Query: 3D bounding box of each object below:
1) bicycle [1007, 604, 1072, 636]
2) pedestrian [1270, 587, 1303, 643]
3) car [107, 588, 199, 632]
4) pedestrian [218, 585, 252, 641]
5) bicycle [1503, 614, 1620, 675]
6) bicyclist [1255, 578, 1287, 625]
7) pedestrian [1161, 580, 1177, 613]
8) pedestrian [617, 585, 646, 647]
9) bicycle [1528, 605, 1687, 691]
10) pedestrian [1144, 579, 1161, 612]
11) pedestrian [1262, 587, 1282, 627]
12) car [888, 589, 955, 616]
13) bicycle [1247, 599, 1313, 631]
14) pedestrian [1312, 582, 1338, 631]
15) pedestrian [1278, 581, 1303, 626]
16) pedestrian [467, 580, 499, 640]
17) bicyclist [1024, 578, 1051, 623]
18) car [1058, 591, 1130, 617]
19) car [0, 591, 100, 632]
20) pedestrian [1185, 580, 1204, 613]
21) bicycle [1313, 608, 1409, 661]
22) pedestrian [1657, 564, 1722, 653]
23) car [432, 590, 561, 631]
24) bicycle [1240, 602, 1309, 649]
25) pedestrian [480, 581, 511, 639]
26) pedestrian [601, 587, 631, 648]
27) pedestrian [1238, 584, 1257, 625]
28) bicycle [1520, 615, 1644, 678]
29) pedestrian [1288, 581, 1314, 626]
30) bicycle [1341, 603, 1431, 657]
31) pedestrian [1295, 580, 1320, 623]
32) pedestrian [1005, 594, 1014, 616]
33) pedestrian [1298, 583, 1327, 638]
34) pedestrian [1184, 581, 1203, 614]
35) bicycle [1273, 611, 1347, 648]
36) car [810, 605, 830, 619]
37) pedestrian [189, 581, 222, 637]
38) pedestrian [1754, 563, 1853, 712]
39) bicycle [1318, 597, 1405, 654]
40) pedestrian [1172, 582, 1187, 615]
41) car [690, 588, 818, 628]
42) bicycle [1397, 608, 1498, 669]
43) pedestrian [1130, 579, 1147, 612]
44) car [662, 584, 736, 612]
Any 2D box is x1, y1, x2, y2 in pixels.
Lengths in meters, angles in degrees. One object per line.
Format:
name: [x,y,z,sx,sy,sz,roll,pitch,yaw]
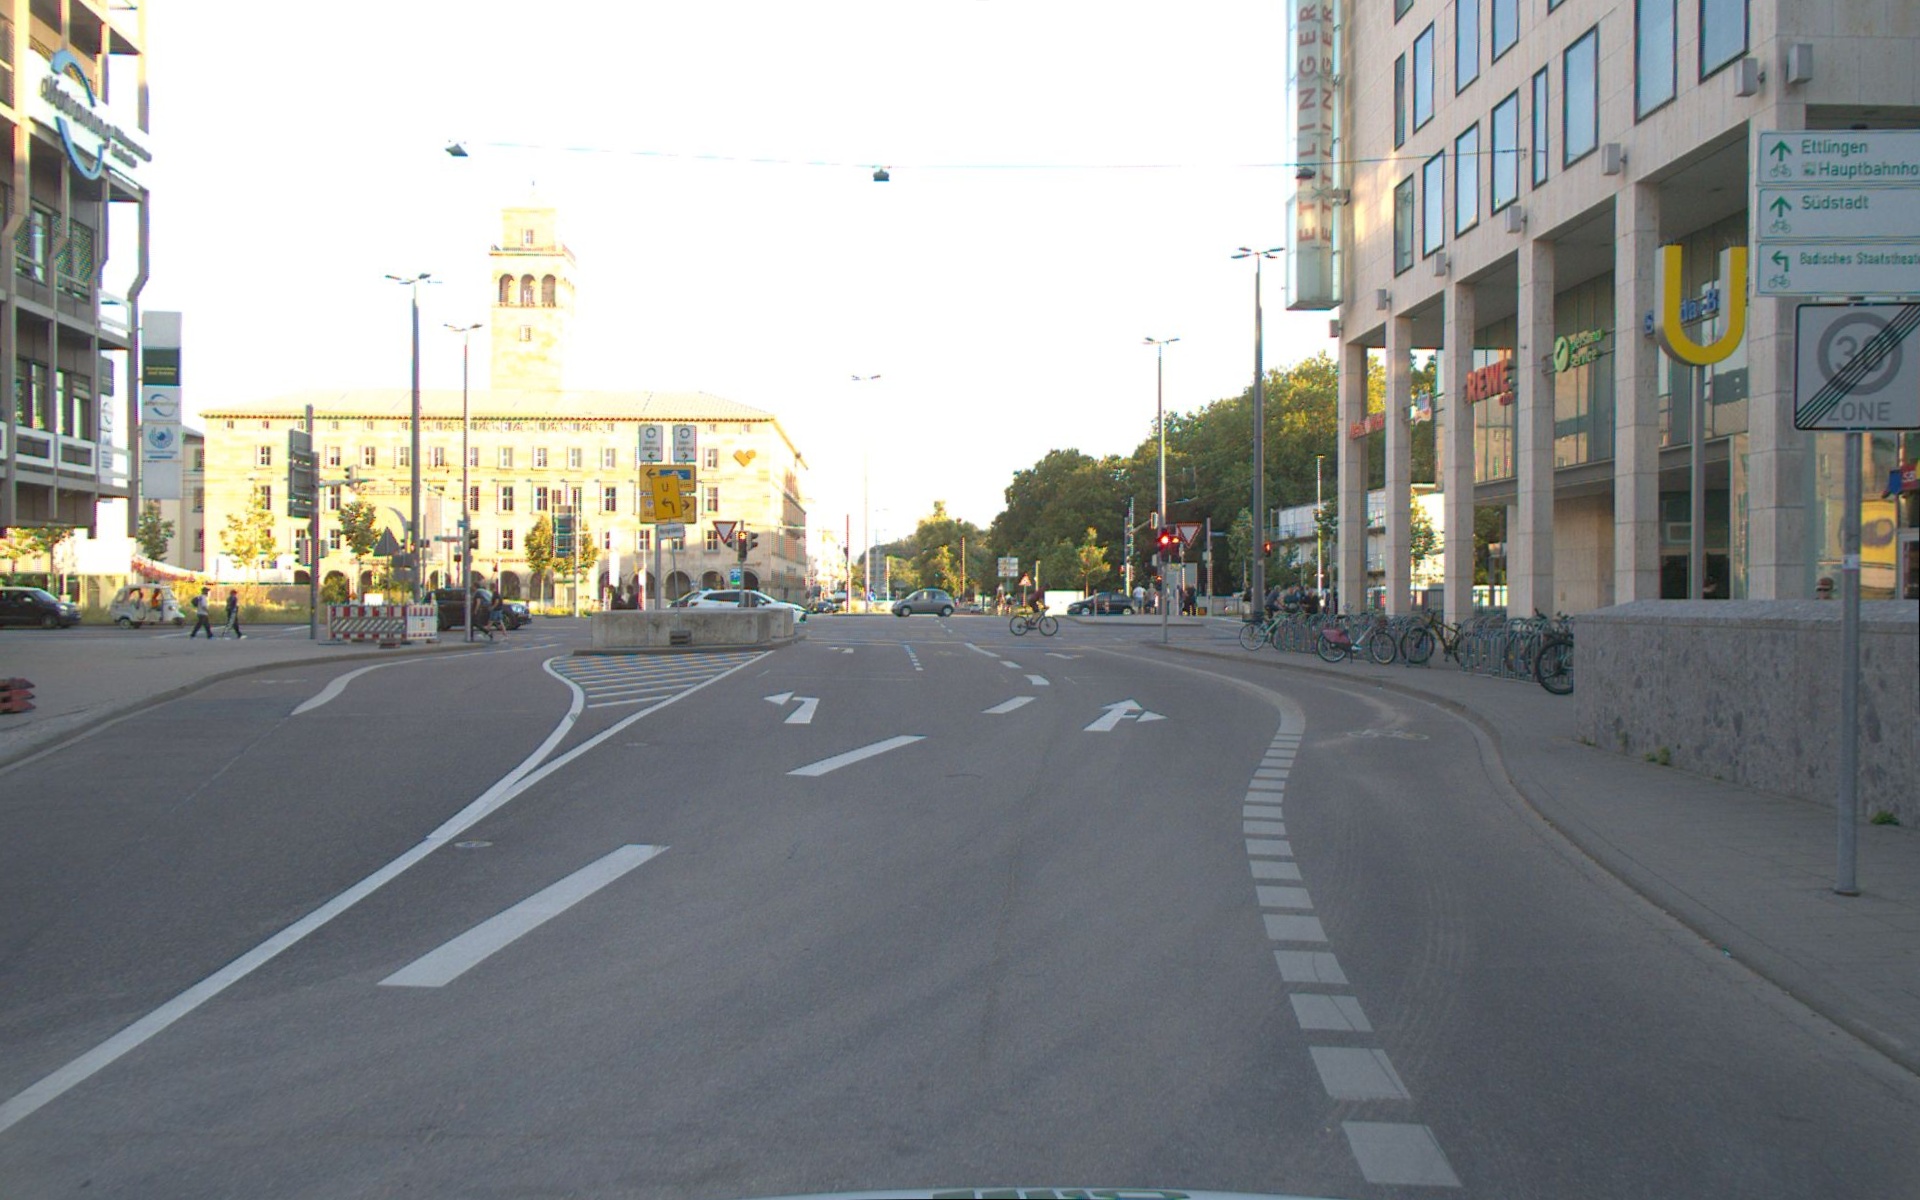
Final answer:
bicycle: [2.774,0.702,57.873,2.198,1.080,0.653,0,0,-4]
pedestrian: [10.886,0.483,55.143,0.843,1.808,0.740,-3,0,-2]
car: [-32.640,0.387,66.937,3.080,1.714,1.605,0,0,-16]
pedestrian: [-24.047,0.438,54.838,0.735,1.808,0.850,-3,0,-42]
bicycle: [9.628,0.711,26.479,1.704,0.952,0.516,0,0,-4]
bicyclist: [10.999,0.047,58.516,0.999,1.649,0.653,0,0,-1]
pedestrian: [11.325,-0.177,89.555,0.791,1.760,0.688,0,0,10]
pedestrian: [-9.782,0.461,49.240,0.727,1.808,0.859,-1,0,-19]
bicycle: [8.842,0.649,22.617,1.946,1.149,0.571,0,0,2]
pedestrian: [10.293,-0.234,88.478,0.792,1.760,0.687,0,0,-4]
pedestrian: [13.777,0.317,72.991,0.818,1.760,0.688,0,0,13]
car: [-2.186,0.145,93.224,3.645,1.478,1.543,0,0,-9]
bicycle: [11.305,0.530,58.518,2.196,1.080,0.653,0,0,-1]
pedestrian: [14.115,0.255,63.984,0.874,1.872,0.688,0,0,2]
pedestrian: [13.159,0.130,65.841,0.874,1.760,0.688,0,0,5]
pedestrian: [-14.982,0.310,51.957,0.724,1.808,0.862,-3,0,-5]
bicyclist: [2.715,0.016,57.873,0.862,1.557,0.653,0,0,-4]
car: [7.739,0.221,95.788,3.909,1.478,1.540,0,0,-15]
car: [-37.120,0.441,66.556,4.106,1.620,1.692,0,0,-11]
pedestrian: [12.759,-0.193,89.906,0.678,1.760,0.803,0,0,-28]
bicycle: [8.230,0.699,33.984,1.858,1.066,0.571,0,0,2]
pedestrian: [15.230,0.167,34.537,0.843,1.808,0.990,-1,0,-4]
car: [-17.683,0.400,63.251,4.371,1.522,2.127,0,0,-3]
bicycle: [8.330,0.673,43.801,1.778,1.233,0.571,0,0,13]
pedestrian: [-14.833,0.310,52.875,0.724,1.808,0.862,-3,0,-5]
pedestrian: [-10.385,0.519,49.958,0.728,1.808,0.858,1,0,-22]
pedestrian: [12.225,0.188,70.409,0.678,1.760,0.741,0,0,-1]
bicycle: [9.712,0.724,25.847,1.772,0.952,0.516,0,0,-4]
pedestrian: [13.220,0.134,64.077,0.874,1.760,0.688,0,0,2]
bicycle: [9.531,0.676,37.055,1.833,1.133,0.570,2,0,1]
pedestrian: [14.074,0.062,66.959,0.874,1.760,0.688,0,0,2]
pedestrian: [3.192,0.328,107.458,0.512,1.398,0.687,0,0,-6]
pedestrian: [11.741,0.339,55.126,0.741,1.808,0.740,-3,0,-2]
pedestrian: [12.573,-0.146,88.975,0.799,1.760,0.681,0,0,-30]
bicycle: [9.192,0.783,43.452,1.830,0.952,0.516,0,0,-4]
car: [-15.574,1.331,184.413,1.953,1.545,3.999,0,0,-1]
pedestrian: [-25.044,0.286,54.889,0.733,1.808,0.851,-3,0,-39]
pedestrian: [10.252,0.444,20.130,0.818,1.765,0.820,0,0,5]
bicycle: [9.418,0.591,38.829,1.830,1.282,0.673,2,0,-4]
pedestrian: [11.797,-0.089,88.827,0.791,1.760,0.688,0,0,10]
car: [-7.876,0.294,63.602,4.701,1.522,2.127,0,0,-3]
bicycle: [9.616,0.749,32.652,1.778,1.119,0.601,2,0,5]
pedestrian: [9.541,-0.228,88.386,0.792,1.760,0.687,0,0,-4]
car: [-14.188,-0.110,90.077,3.913,1.520,1.824,0,0,-9]
